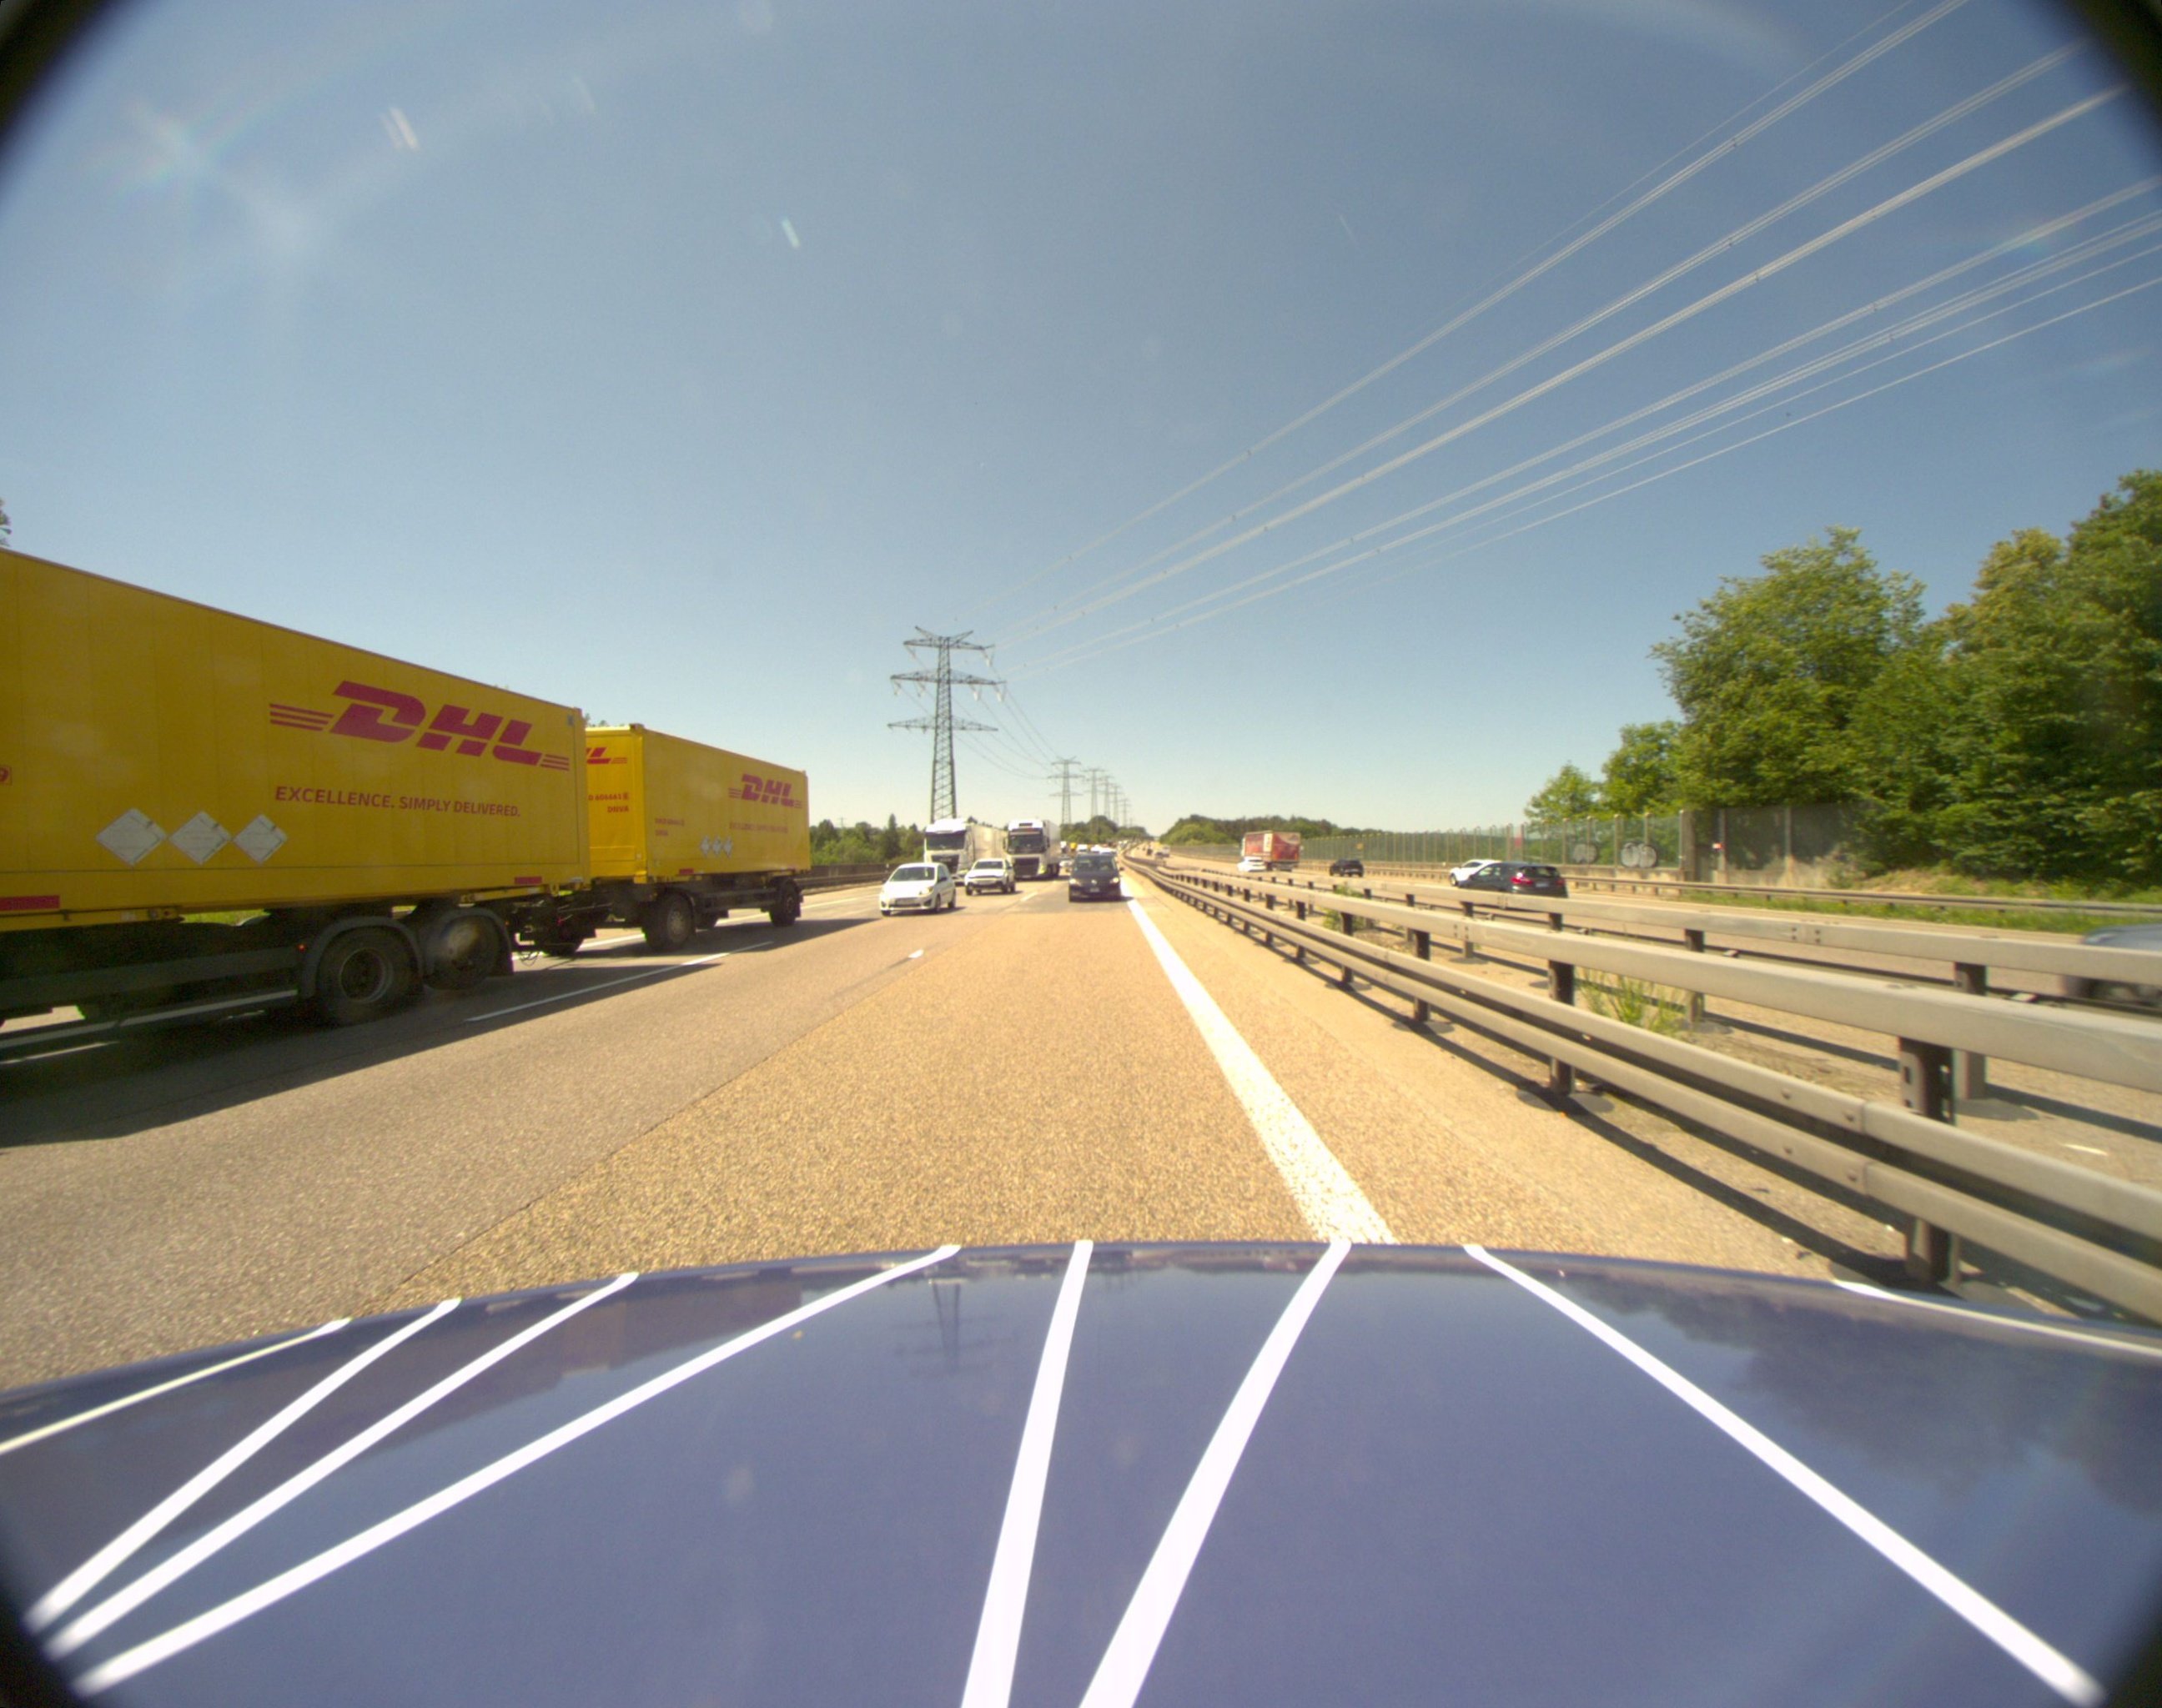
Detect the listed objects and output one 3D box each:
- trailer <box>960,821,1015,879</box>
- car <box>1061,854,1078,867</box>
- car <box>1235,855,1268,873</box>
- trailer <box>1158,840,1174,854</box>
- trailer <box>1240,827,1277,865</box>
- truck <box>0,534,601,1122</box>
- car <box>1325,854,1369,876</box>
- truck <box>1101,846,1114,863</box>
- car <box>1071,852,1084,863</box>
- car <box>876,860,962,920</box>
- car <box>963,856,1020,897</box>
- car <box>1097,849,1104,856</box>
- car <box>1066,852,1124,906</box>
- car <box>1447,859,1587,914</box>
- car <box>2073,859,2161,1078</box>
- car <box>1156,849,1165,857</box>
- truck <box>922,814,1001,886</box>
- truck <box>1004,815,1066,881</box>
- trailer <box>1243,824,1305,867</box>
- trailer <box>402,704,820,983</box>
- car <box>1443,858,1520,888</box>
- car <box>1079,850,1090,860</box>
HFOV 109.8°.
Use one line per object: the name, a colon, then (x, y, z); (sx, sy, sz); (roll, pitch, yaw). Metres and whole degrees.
trailer: (-6.907, -0.307, 57.364); (2.752, 3.918, 7.774); (-2, 0, 2)
car: (-1.464, 0.796, 97.909); (1.820, 1.569, 4.000); (-2, 1, 2)
car: (14.345, 0.813, 64.241); (1.855, 1.458, 4.304); (0, 1, 0)
trailer: (27.324, -2.249, 244.575); (3.998, 4.211, 14.039); (-1, 1, 2)
trailer: (19.299, -0.816, 83.016); (2.763, 3.953, 6.132); (1, 0, 1)
truck: (-8.857, -0.140, 6.602); (2.772, 4.085, 9.953); (-2, 0, 1)
car: (22.257, 0.896, 63.789); (1.998, 1.567, 5.274); (-2, 1, 2)
truck: (4.758, 0.084, 135.708); (2.309, 2.789, 5.110); (-2, 1, 3)
car: (-0.481, 0.535, 113.942); (1.820, 1.569, 4.000); (-2, 1, 2)
car: (-4.793, 1.014, 22.994); (1.659, 1.502, 3.825); (-2, 1, 1)
car: (-3.833, 0.929, 33.207); (1.776, 1.521, 3.852); (-2, 1, 3)
car: (5.600, -0.490, 218.736); (1.998, 2.002, 4.000); (-2, 1, 2)
car: (0.521, 0.782, 25.769); (1.748, 1.569, 4.000); (-2, 1, 3)
car: (13.115, 0.915, 23.181); (1.881, 1.438, 4.144); (0, 1, 0)
car: (9.053, 0.874, 4.282); (1.777, 1.621, 3.950); (-2, 1, 0)
car: (20.181, -0.261, 193.538); (1.998, 1.929, 4.896); (-2, 1, 2)
truck: (-7.239, -0.260, 47.838); (2.695, 3.907, 11.298); (-2, 0, 2)
truck: (-3.015, -0.382, 54.342); (2.717, 4.015, 14.257); (-2, 0, 3)
trailer: (19.117, -0.755, 76.519); (2.770, 3.953, 14.682); (1, 0, 1)
trailer: (-8.686, -0.132, 16.134); (2.772, 4.093, 9.377); (-2, 0, 1)
car: (21.127, 0.949, 40.266); (1.690, 1.447, 4.344); (0, 1, -1)
car: (0.562, 0.179, 136.734); (1.820, 1.569, 4.000); (-2, 1, 2)
